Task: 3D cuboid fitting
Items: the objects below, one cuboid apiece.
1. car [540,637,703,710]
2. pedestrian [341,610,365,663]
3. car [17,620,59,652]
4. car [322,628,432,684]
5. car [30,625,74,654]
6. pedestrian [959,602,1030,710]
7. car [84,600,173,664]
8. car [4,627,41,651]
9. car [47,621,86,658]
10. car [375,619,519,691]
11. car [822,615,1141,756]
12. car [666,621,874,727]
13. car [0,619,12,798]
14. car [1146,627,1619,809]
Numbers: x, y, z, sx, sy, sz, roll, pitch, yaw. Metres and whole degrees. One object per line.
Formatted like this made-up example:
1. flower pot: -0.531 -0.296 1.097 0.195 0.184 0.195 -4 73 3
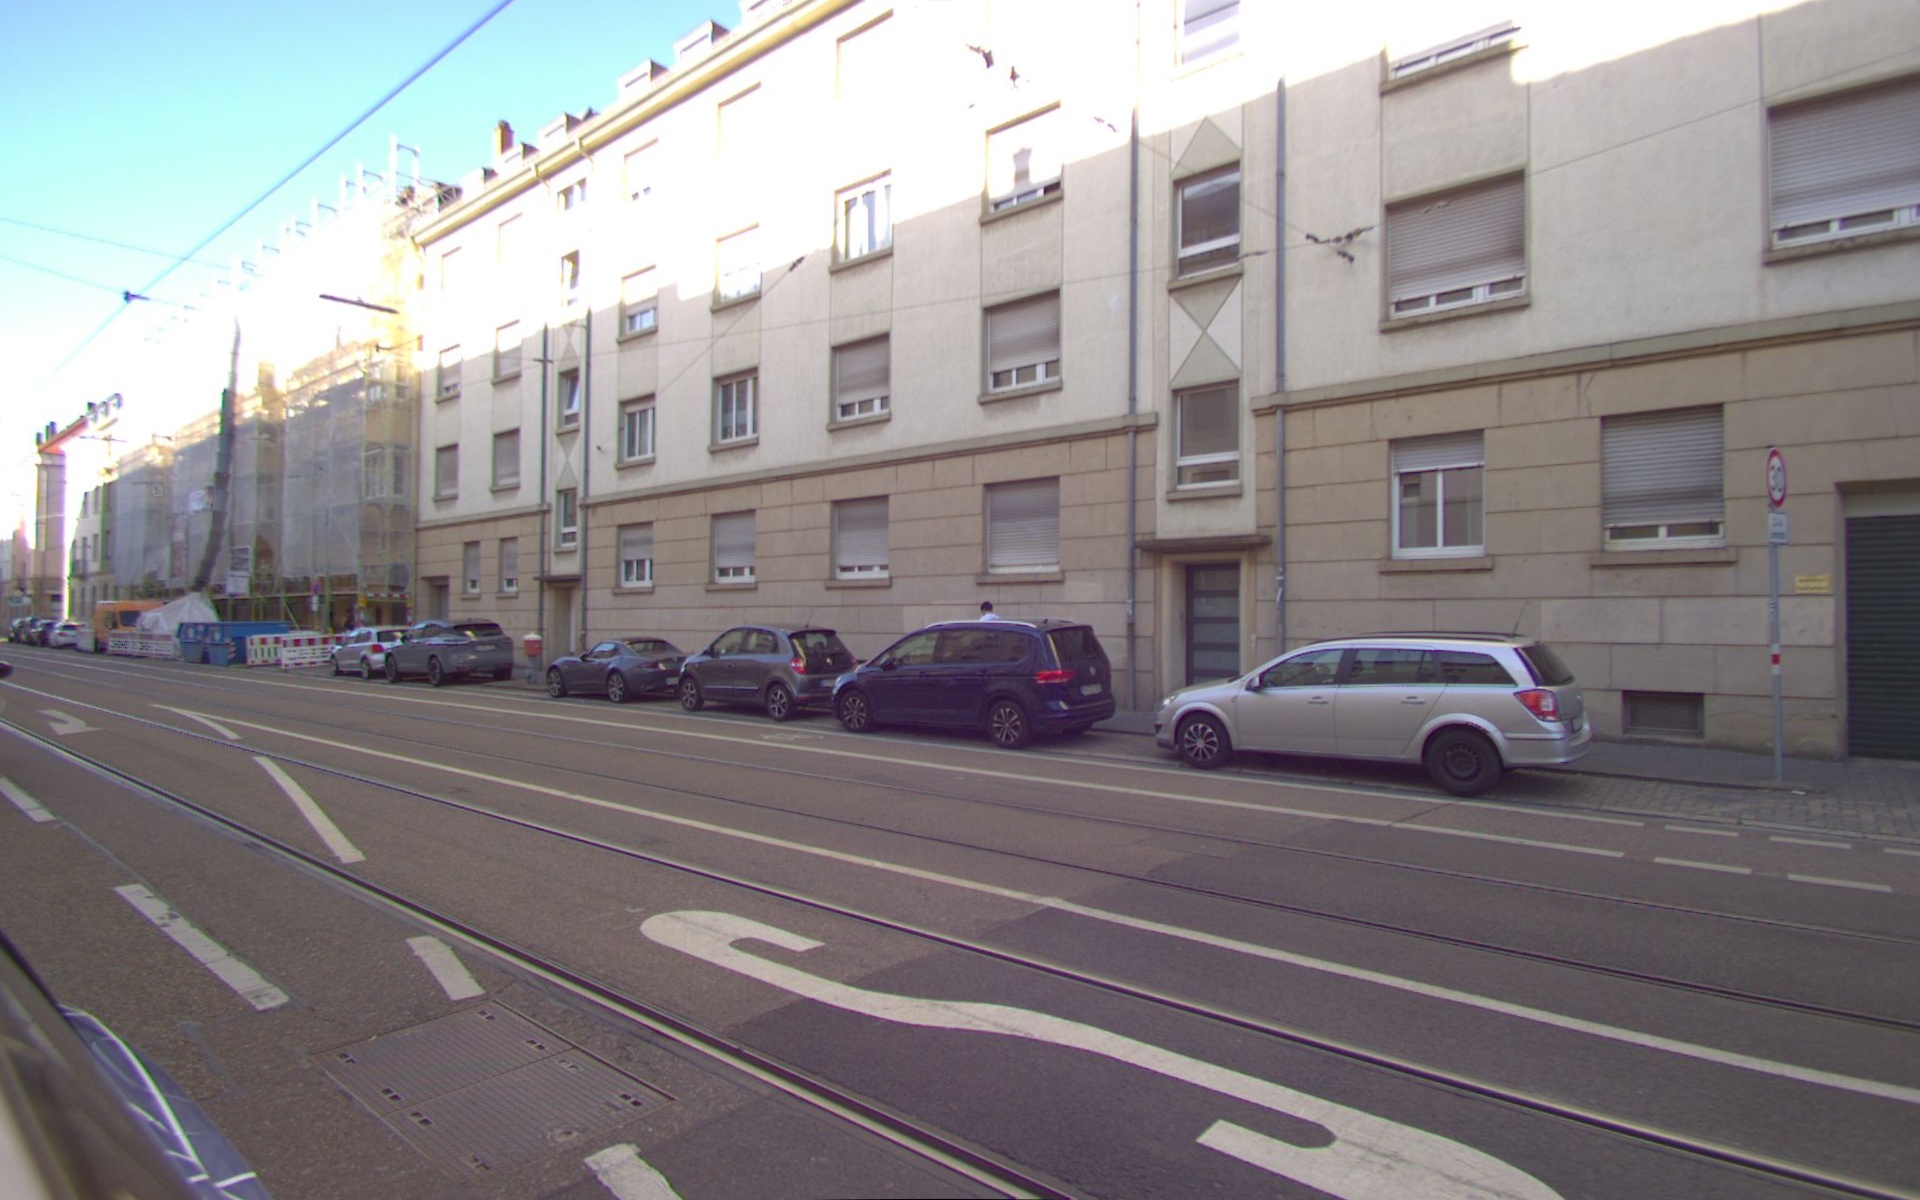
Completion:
1. car: -6.882 1.424 20.435 3.520 1.229 1.457 -1 1 39
2. pedestrian: -21.713 1.298 36.216 0.762 1.886 0.512 -1 0 40
3. car: -60.357 2.302 66.243 4.182 1.971 1.549 -1 0 41
4. car: -16.583 1.547 28.733 3.504 1.390 1.545 -1 1 39
5. car: -55.596 2.383 61.932 3.935 1.696 1.549 -1 0 41
6. pedestrian: 0.580 0.924 17.236 1.003 1.781 0.657 -1 0 33
7. car: -38.040 1.403 46.230 5.870 2.717 2.186 -1 0 41
8. car: -64.680 2.658 69.781 3.598 1.538 1.512 -1 0 41
9. car: -51.119 2.223 57.897 1.634 1.937 3.769 -1 0 -42
10. car: -13.155 1.333 25.854 4.155 1.621 1.730 -1 1 39
11. car: 0.198 1.071 14.342 4.320 1.645 1.797 -1 1 39
12. car: -3.341 1.180 17.477 3.593 1.570 1.623 -1 1 40
13. car: -9.637 0.907 8.813 3.816 1.436 1.704 -2 -3 42
14. car: 4.349 1.079 10.811 4.366 1.465 1.708 -1 1 39
